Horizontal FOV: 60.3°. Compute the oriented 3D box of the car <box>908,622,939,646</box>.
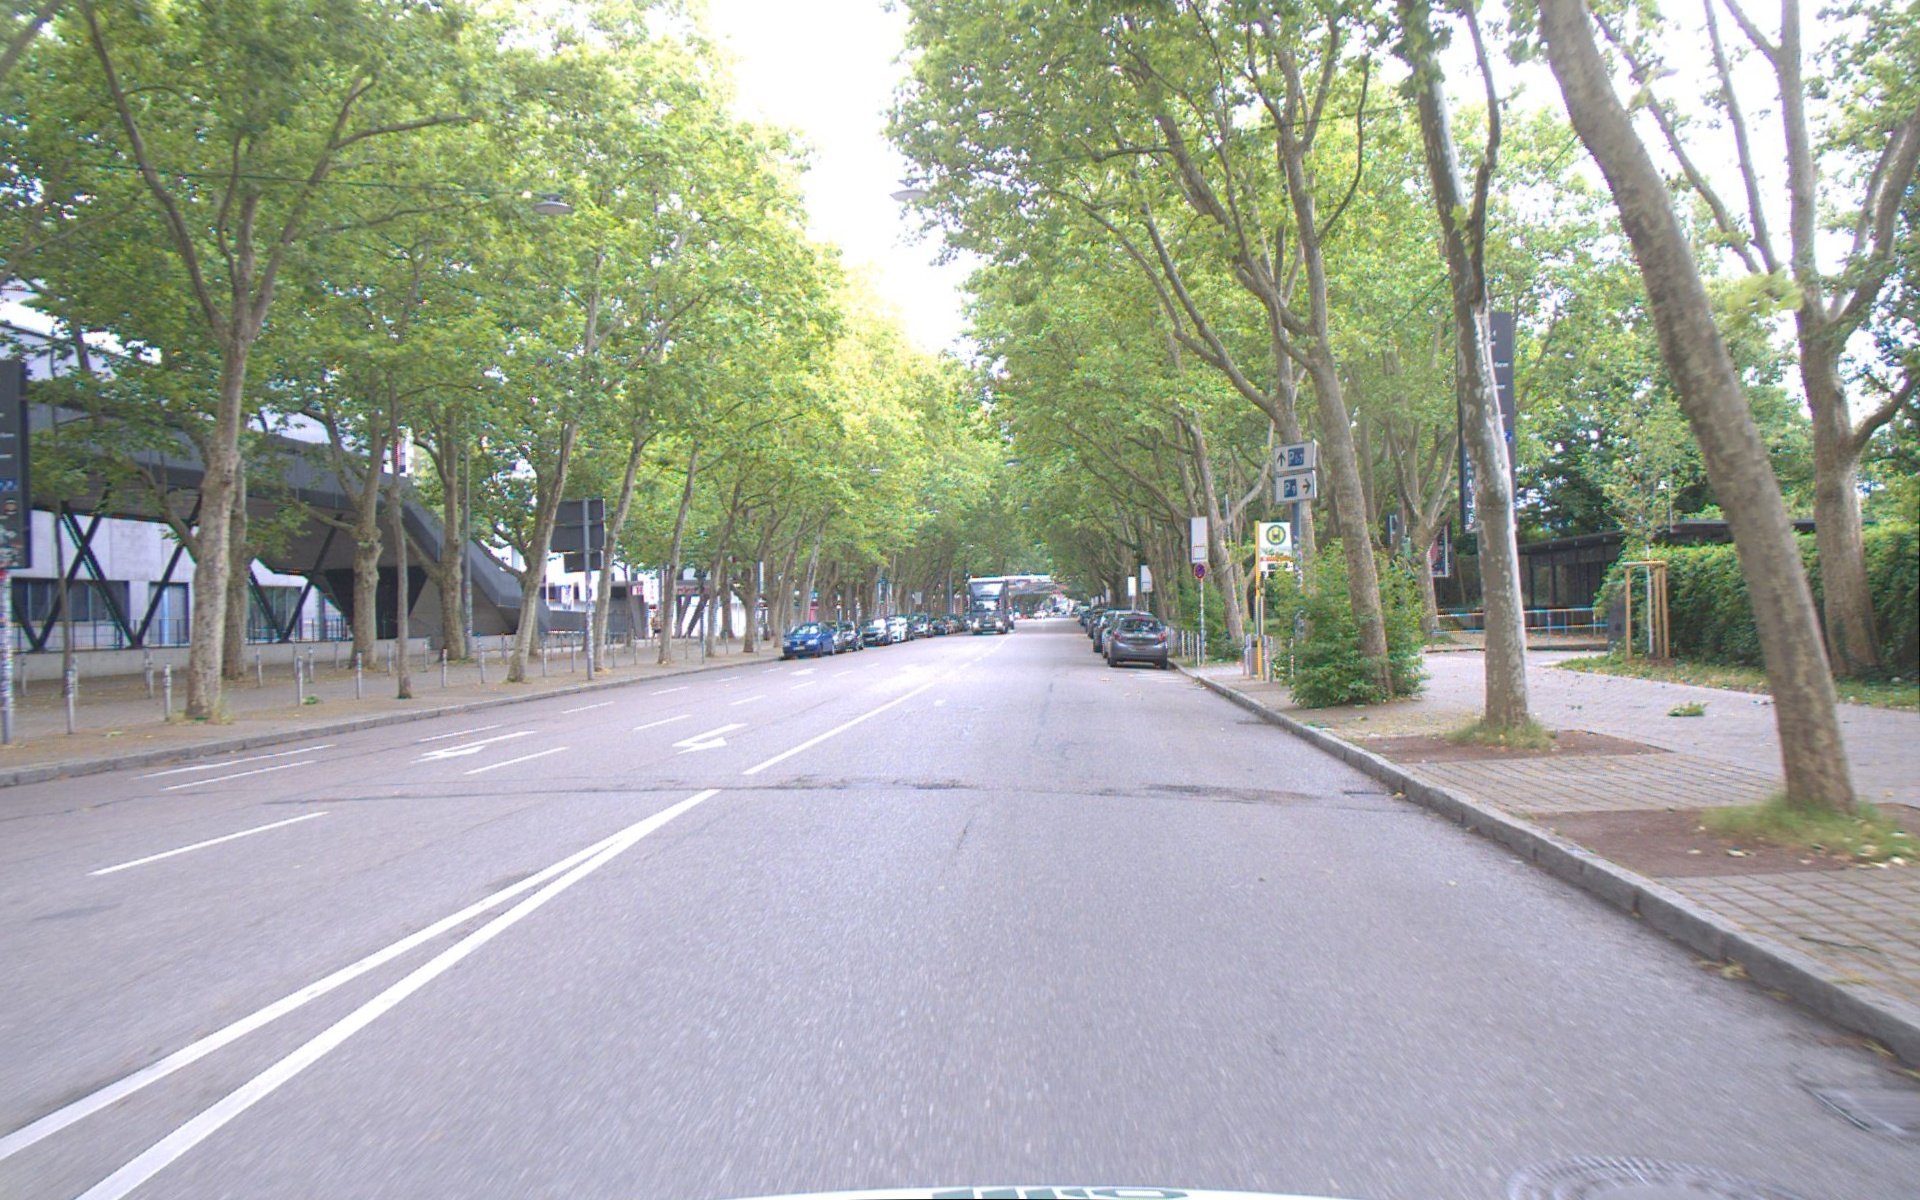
[{"bbox_3d":[-2.495,2.359,114.513,1.856,1.463,4.000,-3,-2,2],"label":"car"}]

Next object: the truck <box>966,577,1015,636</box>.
[{"bbox_3d":[2.240,0.493,117.987,2.585,3.970,9.546,-3,-1,6],"label":"truck"}]

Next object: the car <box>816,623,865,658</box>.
[{"bbox_3d":[-5.536,1.884,77.049,1.729,1.443,3.762,-4,-2,3],"label":"car"}]

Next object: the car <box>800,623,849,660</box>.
[{"bbox_3d":[-5.934,1.840,72.639,1.730,1.443,3.761,-4,-2,0],"label":"car"}]

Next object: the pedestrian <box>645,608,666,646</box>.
[{"bbox_3d":[-15.191,1.347,82.565,0.762,1.867,0.869,-1,-1,-31],"label":"pedestrian"}]

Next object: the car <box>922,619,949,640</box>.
[{"bbox_3d":[-1.869,2.291,126.846,1.856,1.463,4.000,-3,-2,2],"label":"car"}]

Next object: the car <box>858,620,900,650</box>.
[{"bbox_3d":[-4.237,1.872,87.276,1.729,1.443,3.762,-4,-2,3],"label":"car"}]

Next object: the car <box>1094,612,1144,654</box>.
[{"bbox_3d":[6.140,1.266,64.210,1.719,1.516,4.418,2,-1,3],"label":"car"}]

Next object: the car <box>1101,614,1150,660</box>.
[{"bbox_3d":[5.961,1.314,59.754,1.640,1.516,3.689,2,-1,5],"label":"car"}]

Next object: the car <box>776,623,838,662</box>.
[{"bbox_3d":[-6.246,1.719,67.846,1.659,1.443,3.764,-4,-2,8],"label":"car"}]

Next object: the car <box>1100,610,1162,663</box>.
[{"bbox_3d":[5.613,1.185,54.649,1.683,1.594,4.095,2,-1,2],"label":"car"}]

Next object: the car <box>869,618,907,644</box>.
[{"bbox_3d":[-4.092,1.780,94.505,1.696,1.355,4.001,-3,-2,3],"label":"car"}]

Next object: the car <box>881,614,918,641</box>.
[{"bbox_3d":[-3.653,1.669,100.208,1.856,1.463,4.000,-3,-2,2],"label":"car"}]

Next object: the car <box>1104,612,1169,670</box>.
[{"bbox_3d":[5.195,1.172,49.031,1.663,1.545,4.456,2,0,3],"label":"car"}]
